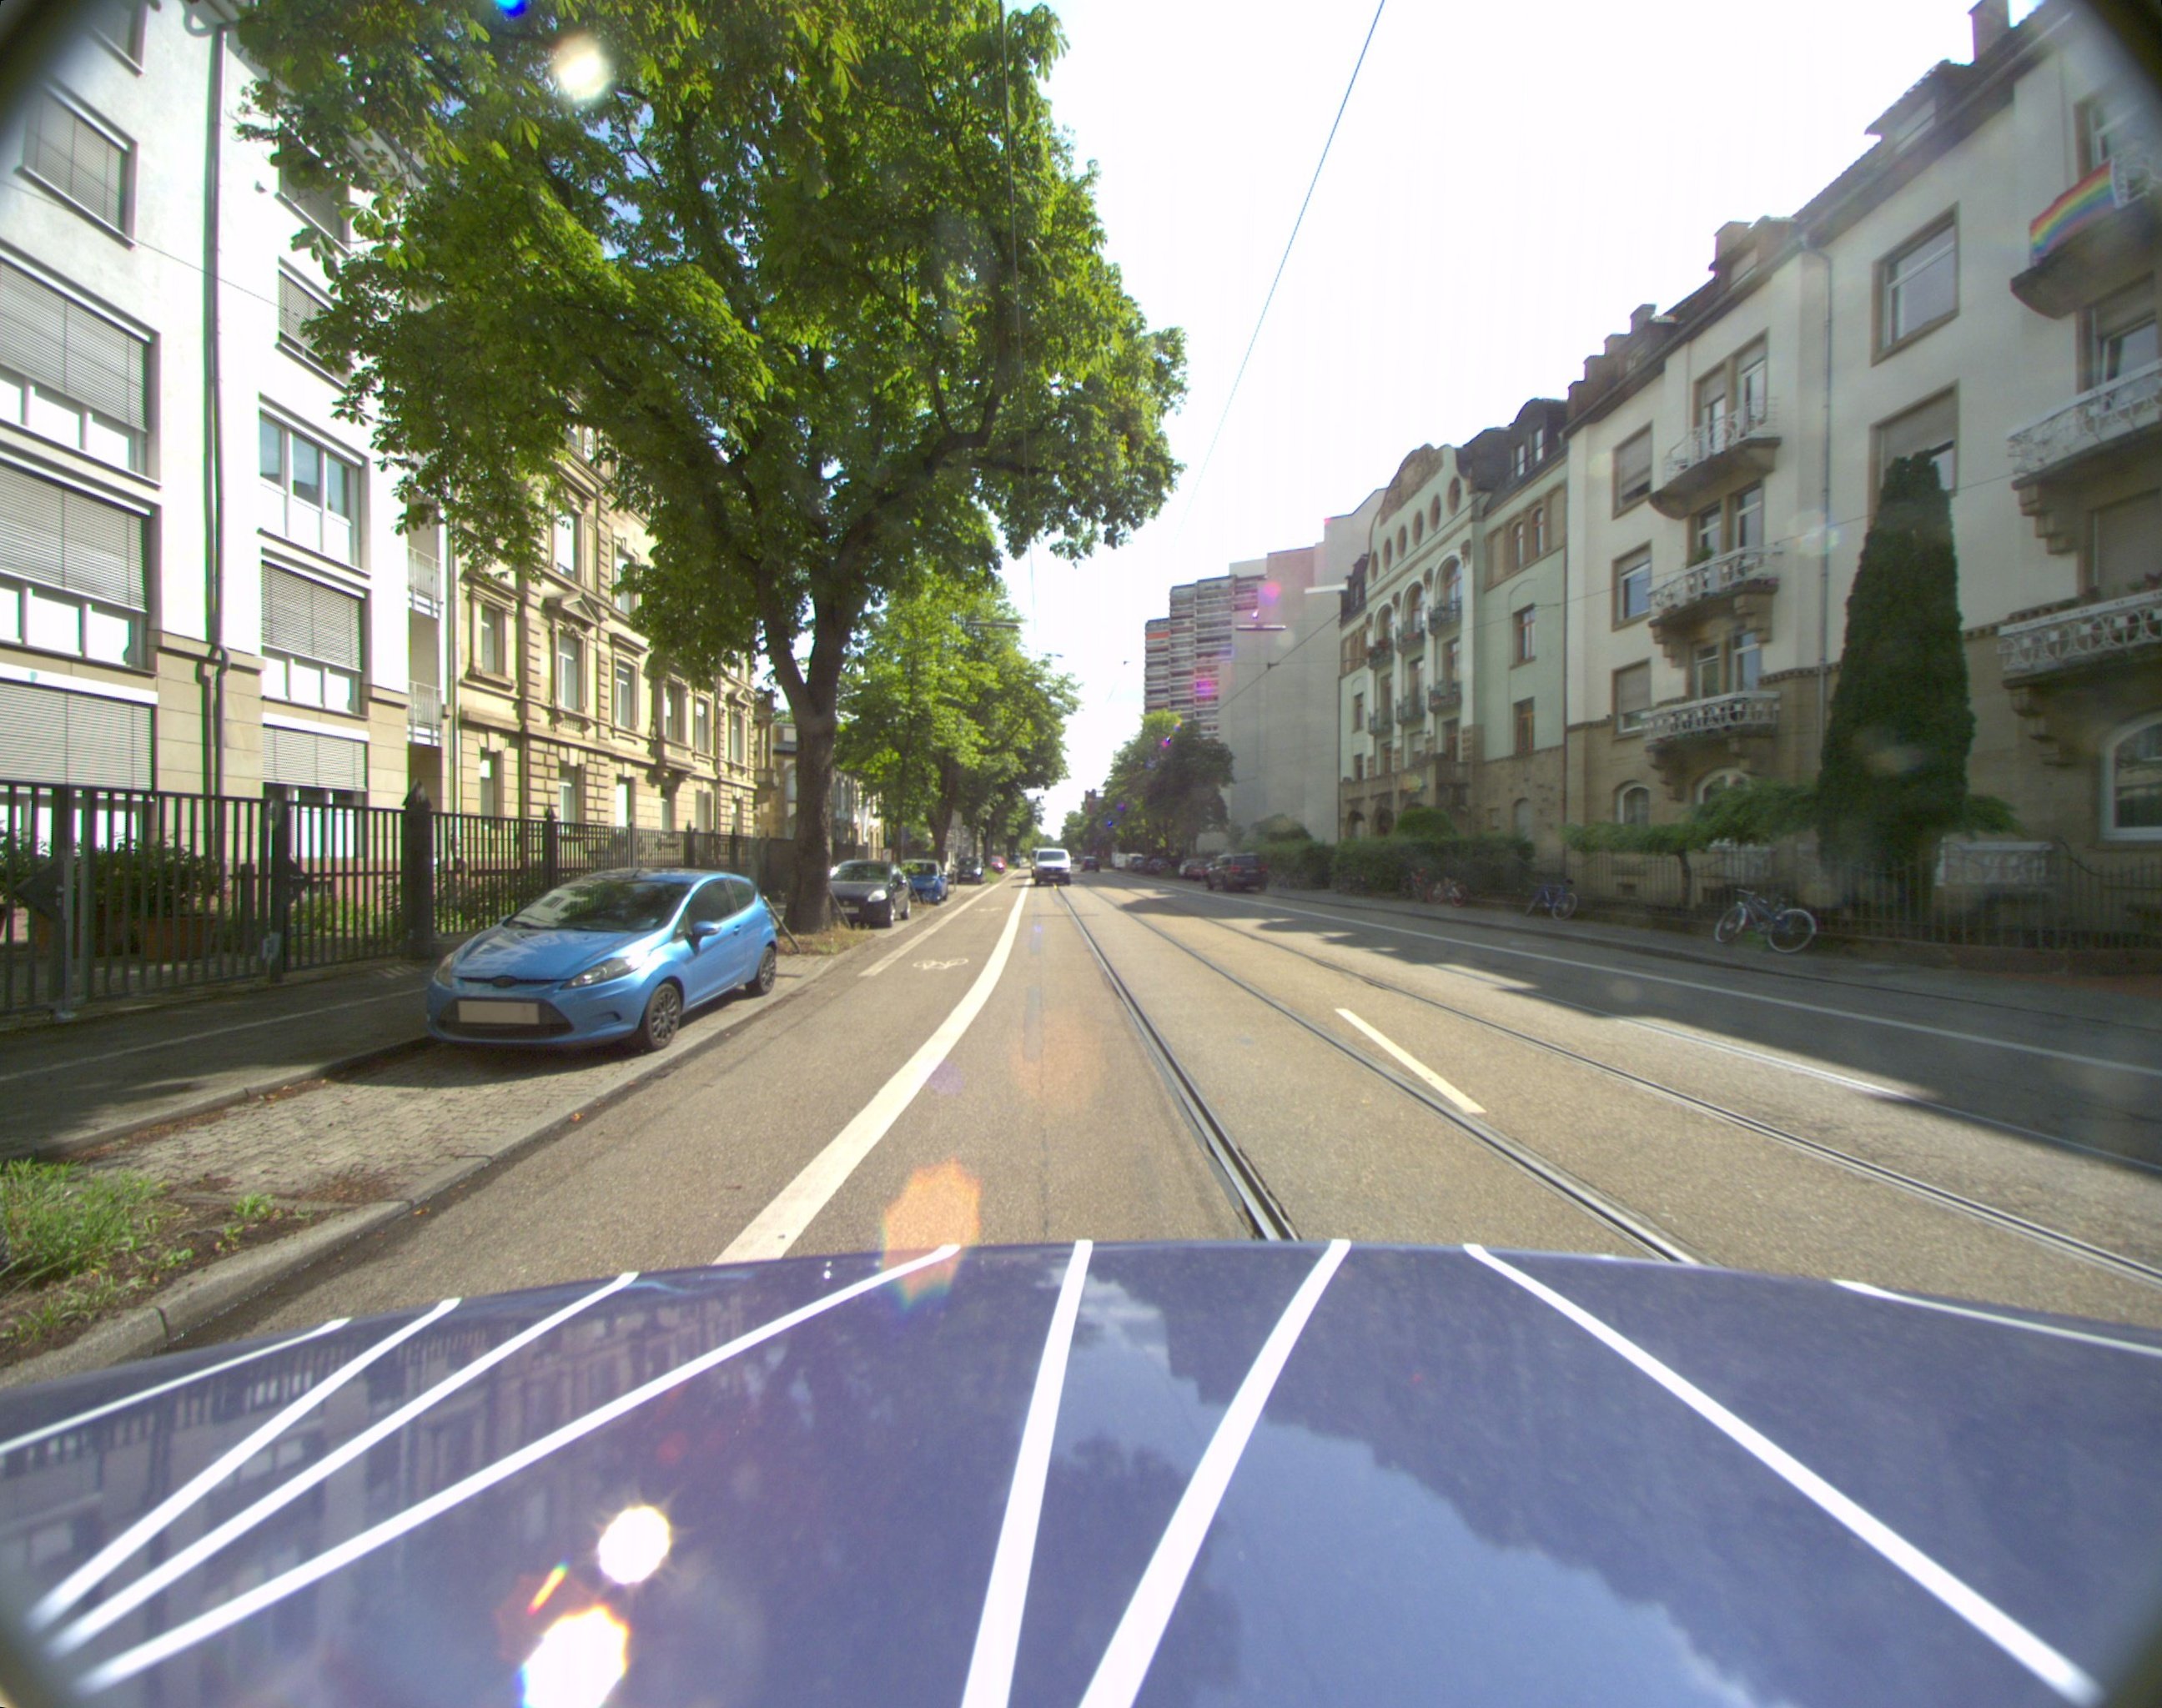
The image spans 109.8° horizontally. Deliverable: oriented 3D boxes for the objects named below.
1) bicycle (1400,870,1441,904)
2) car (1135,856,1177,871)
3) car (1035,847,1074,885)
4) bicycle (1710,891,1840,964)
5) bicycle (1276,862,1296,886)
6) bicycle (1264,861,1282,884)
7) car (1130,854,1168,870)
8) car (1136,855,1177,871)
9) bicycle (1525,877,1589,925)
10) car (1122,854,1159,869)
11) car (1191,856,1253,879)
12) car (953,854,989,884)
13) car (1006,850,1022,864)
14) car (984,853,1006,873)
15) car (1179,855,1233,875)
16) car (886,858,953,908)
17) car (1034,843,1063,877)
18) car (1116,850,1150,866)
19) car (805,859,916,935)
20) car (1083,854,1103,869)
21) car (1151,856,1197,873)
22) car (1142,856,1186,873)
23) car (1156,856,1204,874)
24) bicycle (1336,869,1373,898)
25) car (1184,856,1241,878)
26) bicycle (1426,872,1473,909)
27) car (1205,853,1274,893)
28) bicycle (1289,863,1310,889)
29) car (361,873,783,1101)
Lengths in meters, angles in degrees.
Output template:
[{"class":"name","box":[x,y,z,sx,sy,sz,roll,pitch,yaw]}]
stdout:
[{"class":"bicycle","box":[10.635,1.025,23.837,0.468,0.990,1.786,0,0,-1]},{"class":"car","box":[7.294,0.906,73.437,3.994,1.499,2.001,0,0,7]},{"class":"car","box":[-1.450,0.609,41.226,1.974,1.901,4.816,0,0,-2]},{"class":"bicycle","box":[11.069,1.133,12.211,0.467,0.990,1.979,0,0,7]},{"class":"bicycle","box":[9.974,0.972,36.974,0.468,1.128,1.786,0,0,-1]},{"class":"bicycle","box":[9.868,0.924,39.071,0.468,1.128,1.786,0,0,-1]},{"class":"car","box":[7.185,0.814,80.071,3.994,1.672,2.001,0,0,7]},{"class":"car","box":[7.613,0.902,76.598,3.994,1.499,2.001,0,0,7]},{"class":"bicycle","box":[10.906,1.052,17.455,0.467,0.990,1.787,0,0,5]},{"class":"car","box":[6.591,0.787,84.494,3.994,1.672,2.001,0,0,7]},{"class":"car","box":[9.403,0.893,50.855,3.994,1.499,2.001,0,0,7]},{"class":"car","box":[-6.351,0.858,44.330,1.744,1.564,3.659,3,0,-4]},{"class":"car","box":[-8.097,0.373,91.953,1.744,1.564,3.928,3,0,-4]},{"class":"car","box":[-7.639,0.782,67.548,1.744,1.564,3.928,3,0,-4]},{"class":"car","box":[9.483,0.810,57.911,3.994,1.499,2.001,0,0,7]},{"class":"car","box":[-5.394,0.914,25.756,1.679,1.467,3.659,3,0,-4]},{"class":"car","box":[-2.473,0.427,58.819,2.147,2.568,4.816,0,0,-2]},{"class":"car","box":[6.155,0.438,90.327,1.994,1.740,4.008,-1,1,41]},{"class":"car","box":[-4.961,0.907,17.543,1.679,1.467,3.659,3,0,-4]},{"class":"car","box":[1.202,0.763,78.424,1.761,1.509,4.067,0,0,-4]},{"class":"car","box":[8.216,0.907,67.111,3.994,1.499,2.001,0,0,7]},{"class":"car","box":[7.708,0.938,70.229,3.994,1.499,2.001,0,0,7]},{"class":"car","box":[8.323,0.899,63.956,3.994,1.499,2.001,0,0,7]},{"class":"bicycle","box":[10.035,1.051,27.922,0.605,0.990,1.981,0,0,-1]},{"class":"car","box":[9.358,0.897,54.363,3.994,1.499,2.001,0,0,7]},{"class":"bicycle","box":[10.603,1.034,21.938,0.468,0.990,1.786,0,0,-1]},{"class":"car","box":[7.160,0.816,34.884,1.922,1.685,4.399,0,0,-5]},{"class":"bicycle","box":[10.062,0.995,35.032,0.468,1.128,1.786,0,0,-1]},{"class":"car","box":[-4.335,1.000,7.247,1.647,1.467,3.660,3,0,-3]}]
